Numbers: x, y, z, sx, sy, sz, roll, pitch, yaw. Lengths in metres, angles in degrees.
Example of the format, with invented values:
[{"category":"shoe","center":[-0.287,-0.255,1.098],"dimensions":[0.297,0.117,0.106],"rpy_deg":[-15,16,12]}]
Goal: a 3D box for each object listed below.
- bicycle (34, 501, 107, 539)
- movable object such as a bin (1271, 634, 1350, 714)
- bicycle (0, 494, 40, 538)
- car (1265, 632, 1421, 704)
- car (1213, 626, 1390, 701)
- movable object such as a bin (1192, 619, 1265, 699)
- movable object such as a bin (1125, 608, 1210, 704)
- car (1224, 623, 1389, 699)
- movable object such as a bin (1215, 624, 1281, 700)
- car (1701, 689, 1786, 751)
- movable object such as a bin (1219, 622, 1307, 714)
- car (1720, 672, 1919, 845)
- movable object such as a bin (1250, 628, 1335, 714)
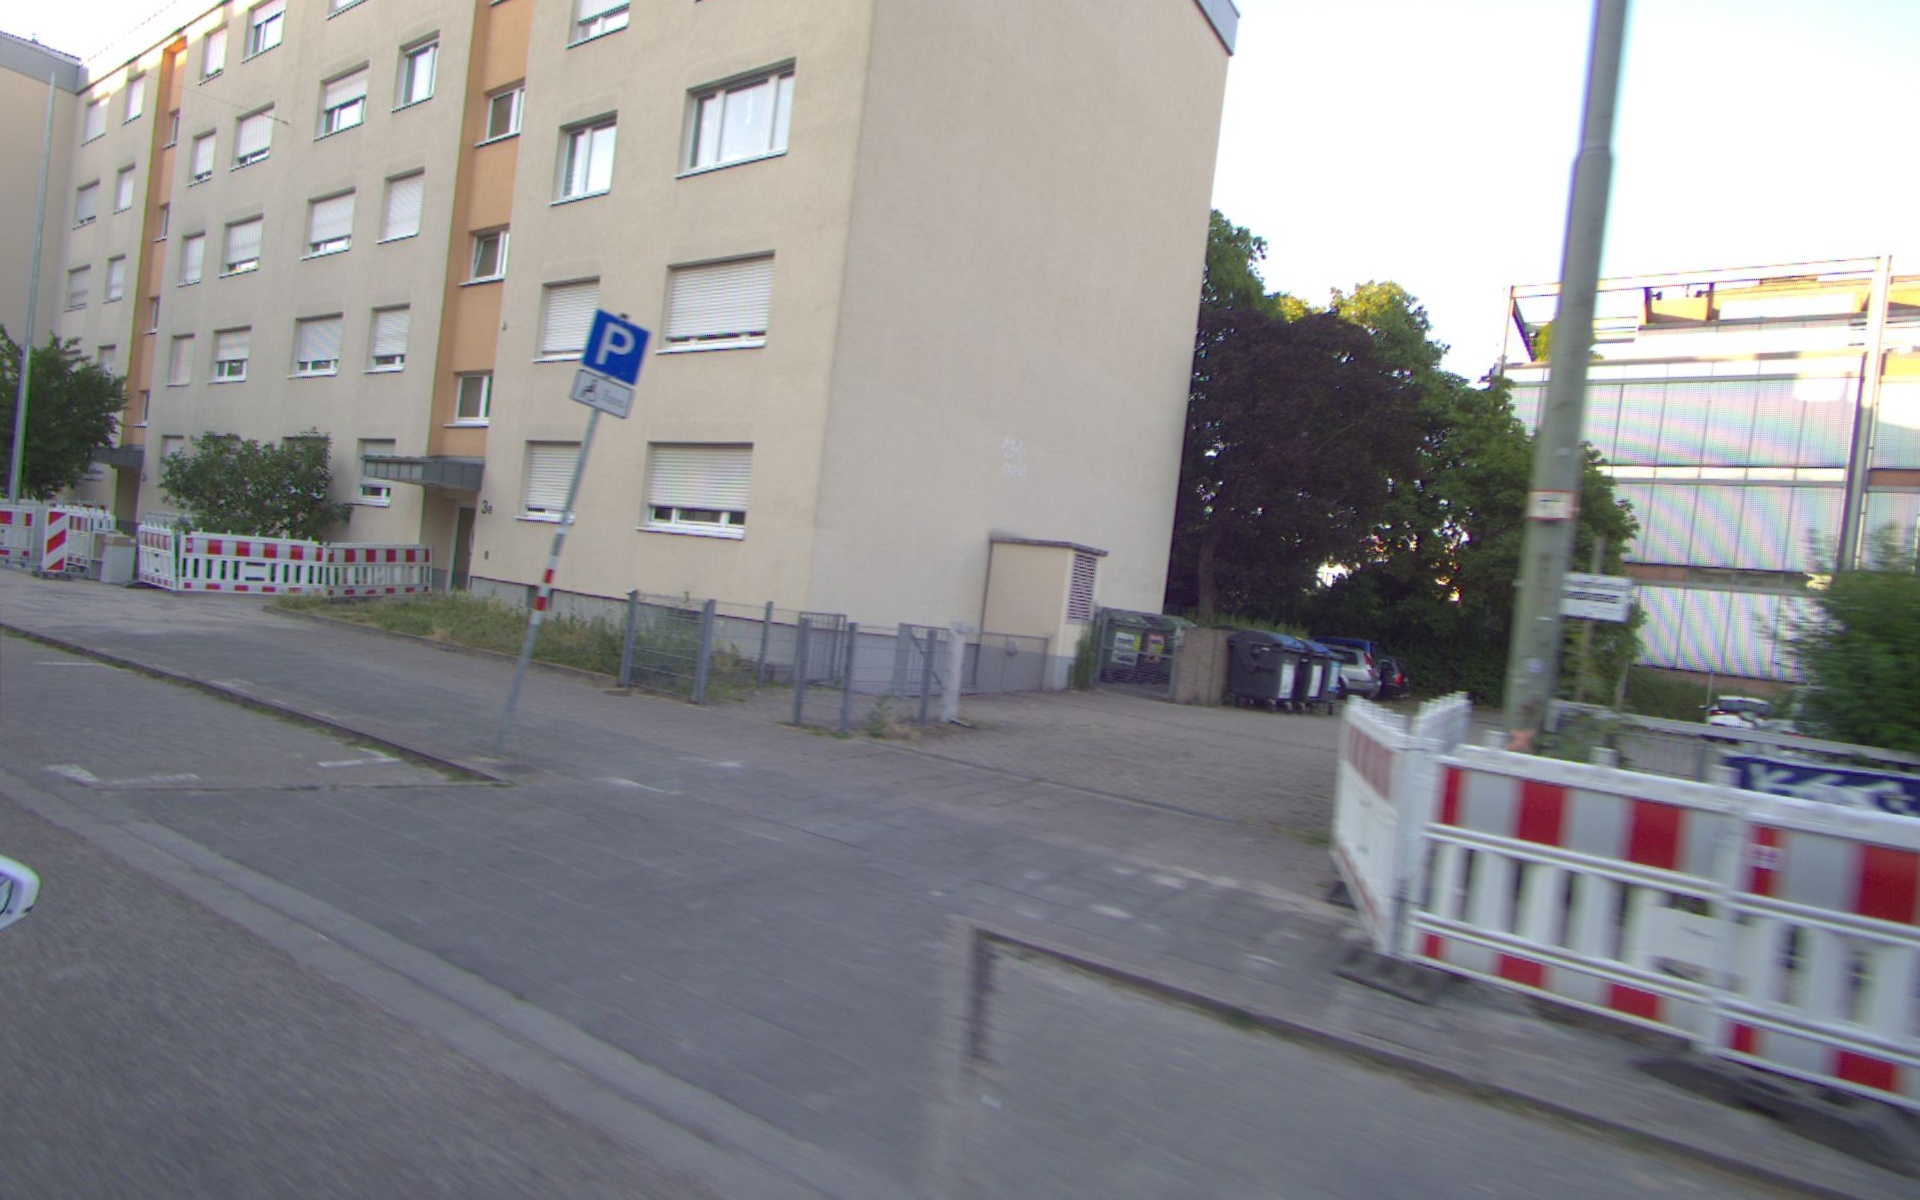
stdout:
[{"category":"bicycle","center":[-23.525,-2.112,26.651],"dimensions":[0.548,0.934,1.811],"rpy_deg":[3,4,-9]},{"category":"movable object such as a bin","center":[7.302,1.527,20.917],"dimensions":[1.140,1.483,1.388],"rpy_deg":[7,1,31]},{"category":"bicycle","center":[-23.821,-2.081,24.650],"dimensions":[0.548,1.037,1.809],"rpy_deg":[6,4,32]},{"category":"car","center":[12.487,2.198,32.860],"dimensions":[4.416,1.688,1.918],"rpy_deg":[7,0,29]},{"category":"car","center":[9.748,1.794,28.775],"dimensions":[4.416,1.496,1.918],"rpy_deg":[7,0,29]},{"category":"movable object such as a bin","center":[5.423,1.189,20.284],"dimensions":[0.995,1.448,1.103],"rpy_deg":[7,1,31]},{"category":"movable object such as a bin","center":[3.554,0.951,17.214],"dimensions":[0.995,1.483,0.999],"rpy_deg":[7,1,31]},{"category":"car","center":[10.662,1.857,31.046],"dimensions":[4.416,1.688,1.918],"rpy_deg":[7,0,29]},{"category":"movable object such as a bin","center":[6.154,1.317,21.470],"dimensions":[0.995,1.483,0.999],"rpy_deg":[7,1,31]},{"category":"car","center":[24.041,3.628,30.954],"dimensions":[1.828,1.536,3.718],"rpy_deg":[7,0,37]},{"category":"movable object such as a bin","center":[5.489,1.217,18.189],"dimensions":[1.091,1.483,1.317],"rpy_deg":[7,1,31]},{"category":"car","center":[9.797,1.657,11.216],"dimensions":[1.667,1.471,3.833],"rpy_deg":[7,0,33]},{"category":"movable object such as a bin","center":[6.460,1.365,19.531],"dimensions":[1.140,1.483,1.388],"rpy_deg":[7,1,31]}]
